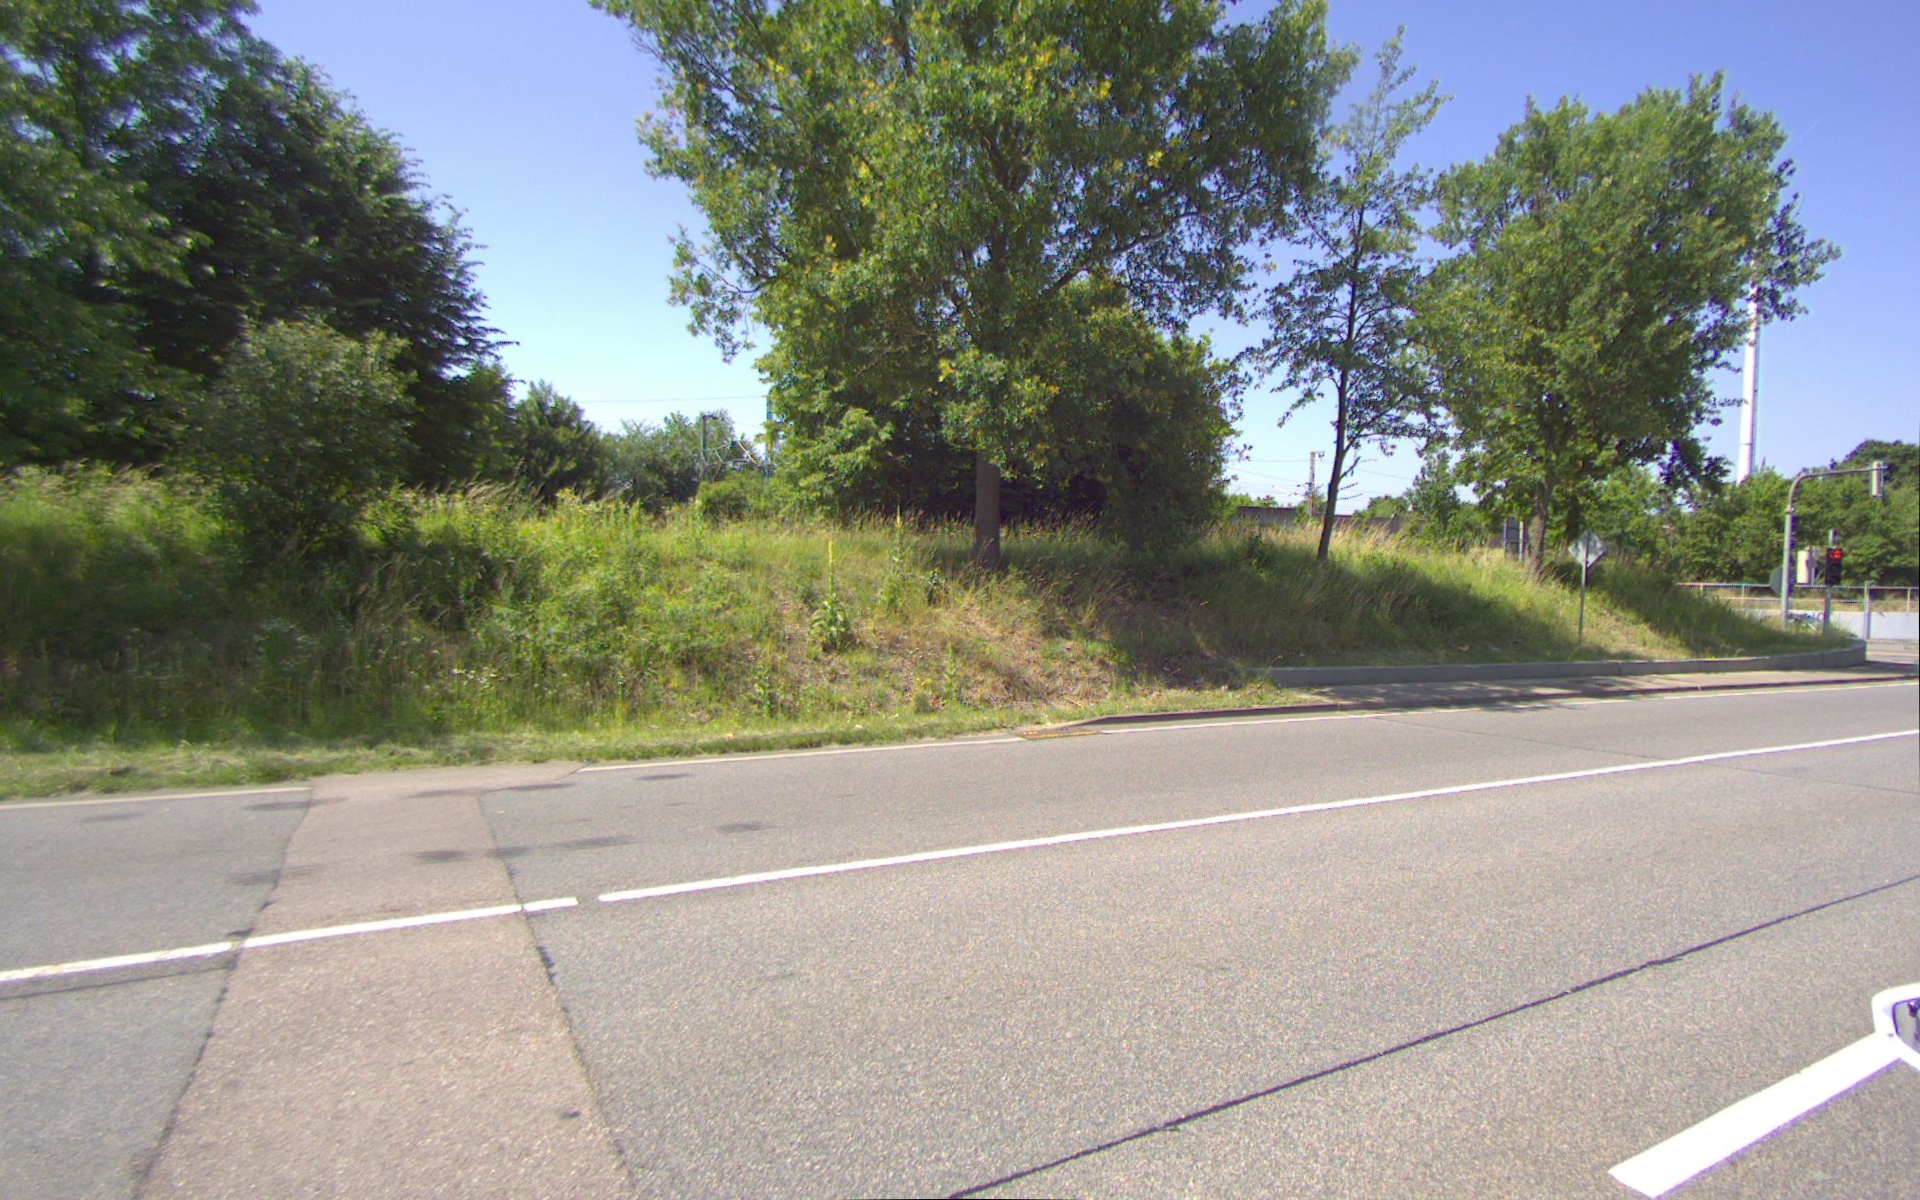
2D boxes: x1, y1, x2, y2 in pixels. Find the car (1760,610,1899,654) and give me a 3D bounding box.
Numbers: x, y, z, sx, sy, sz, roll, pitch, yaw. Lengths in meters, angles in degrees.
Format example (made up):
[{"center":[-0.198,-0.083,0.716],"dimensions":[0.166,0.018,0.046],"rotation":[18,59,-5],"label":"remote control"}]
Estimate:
[{"center":[32.164,1.166,37.251],"dimensions":[1.572,1.489,3.574],"rotation":[1,0,-27],"label":"car"}]
